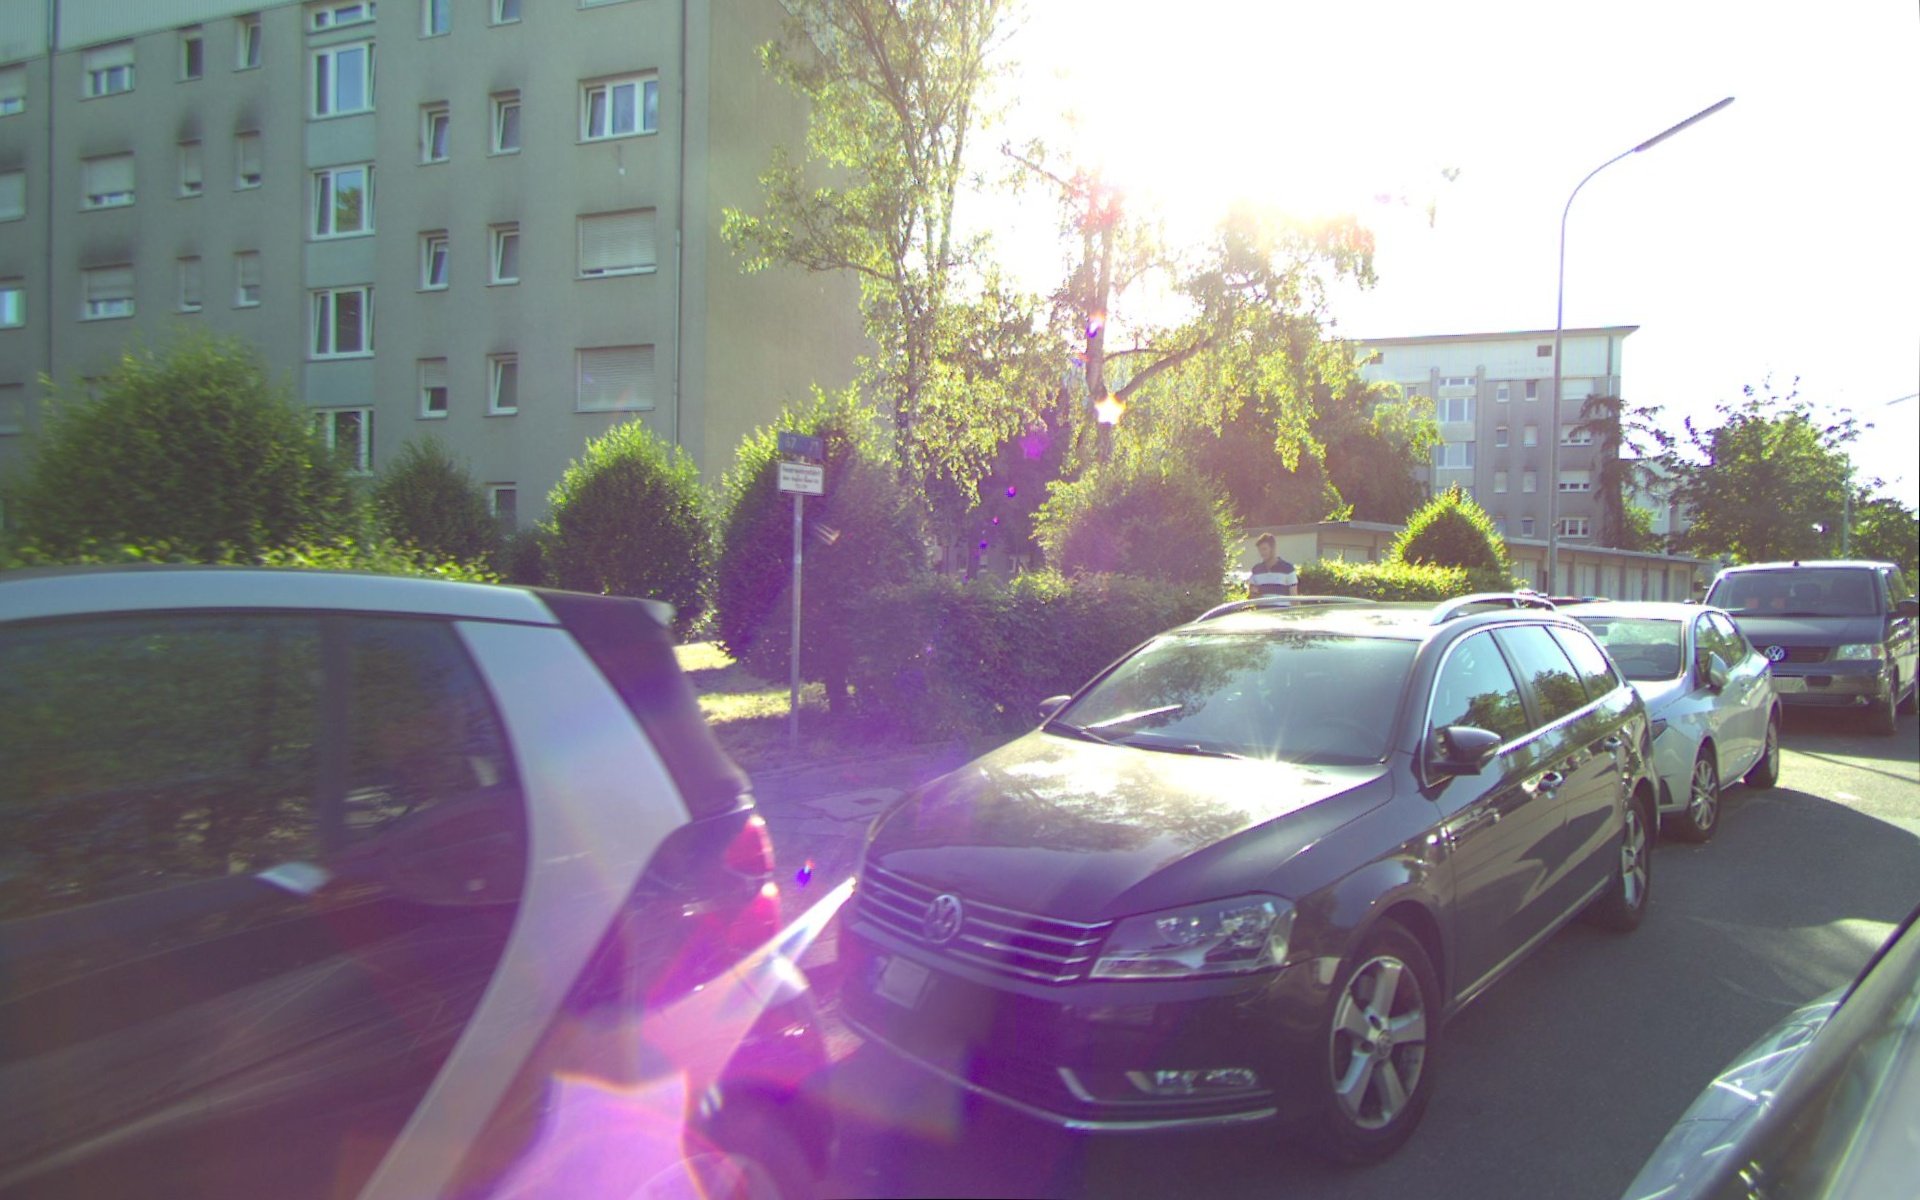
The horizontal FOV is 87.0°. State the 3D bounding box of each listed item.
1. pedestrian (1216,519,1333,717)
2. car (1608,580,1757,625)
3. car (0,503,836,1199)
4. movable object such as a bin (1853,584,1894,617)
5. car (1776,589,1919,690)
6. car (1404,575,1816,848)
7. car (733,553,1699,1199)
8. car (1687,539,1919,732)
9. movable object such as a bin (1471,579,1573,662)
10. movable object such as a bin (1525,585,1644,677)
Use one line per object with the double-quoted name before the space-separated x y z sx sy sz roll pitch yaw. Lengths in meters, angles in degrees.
"pedestrian" 3.195 0.153 10.273 0.857 1.911 0.705 0 3 -40
"car" 26.241 0.055 36.846 1.788 1.513 4.186 0 1 -44
"car" -1.657 0.653 1.729 2.511 1.543 1.418 0 0 -38
"movable object such as a bin" 42.589 0.024 47.208 1.325 1.445 1.053 5 3 43
"car" 14.953 0.541 16.448 4.554 1.436 1.804 0 1 -40
"car" 4.988 0.599 7.536 3.967 1.508 1.625 0 0 -42
"car" 1.468 0.657 4.102 4.427 1.509 1.733 0 0 -44
"car" 10.680 0.342 12.496 4.625 1.959 1.855 0 0 -42
"movable object such as a bin" 9.903 0.331 17.855 1.112 1.382 1.227 0 1 -38
"movable object such as a bin" 9.986 0.468 16.190 1.359 1.325 1.031 0 4 -31
